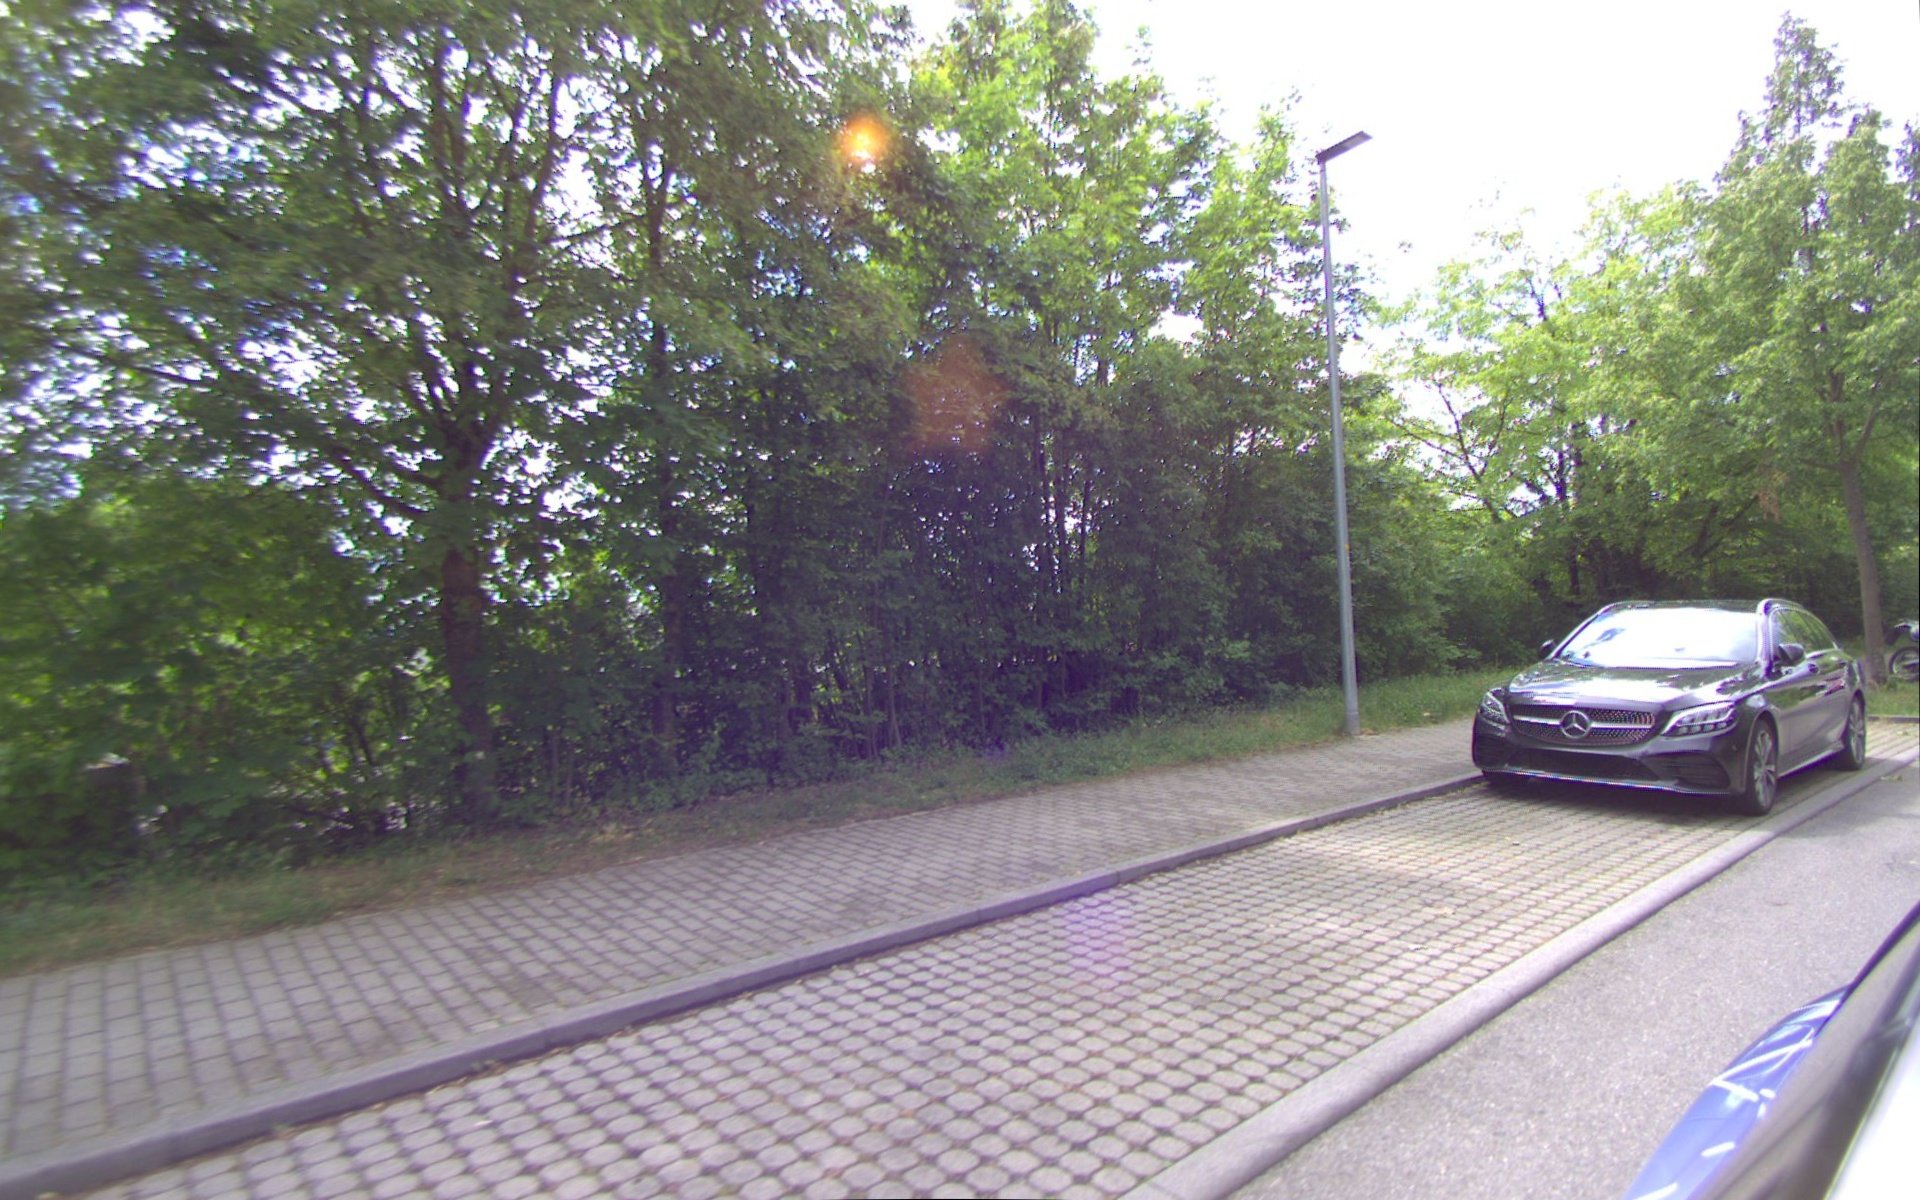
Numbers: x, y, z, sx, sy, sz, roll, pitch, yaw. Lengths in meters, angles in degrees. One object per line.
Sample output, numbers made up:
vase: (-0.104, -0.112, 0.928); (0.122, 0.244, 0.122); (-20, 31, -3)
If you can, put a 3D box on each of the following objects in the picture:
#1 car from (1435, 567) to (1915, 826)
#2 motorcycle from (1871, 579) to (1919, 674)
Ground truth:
car: (5.924, 0.602, 8.196); (4.462, 1.550, 1.897); (0, -2, -37)
motorcycle: (15.741, 0.425, 15.697); (0.955, 1.494, 2.316); (-1, 1, -8)
